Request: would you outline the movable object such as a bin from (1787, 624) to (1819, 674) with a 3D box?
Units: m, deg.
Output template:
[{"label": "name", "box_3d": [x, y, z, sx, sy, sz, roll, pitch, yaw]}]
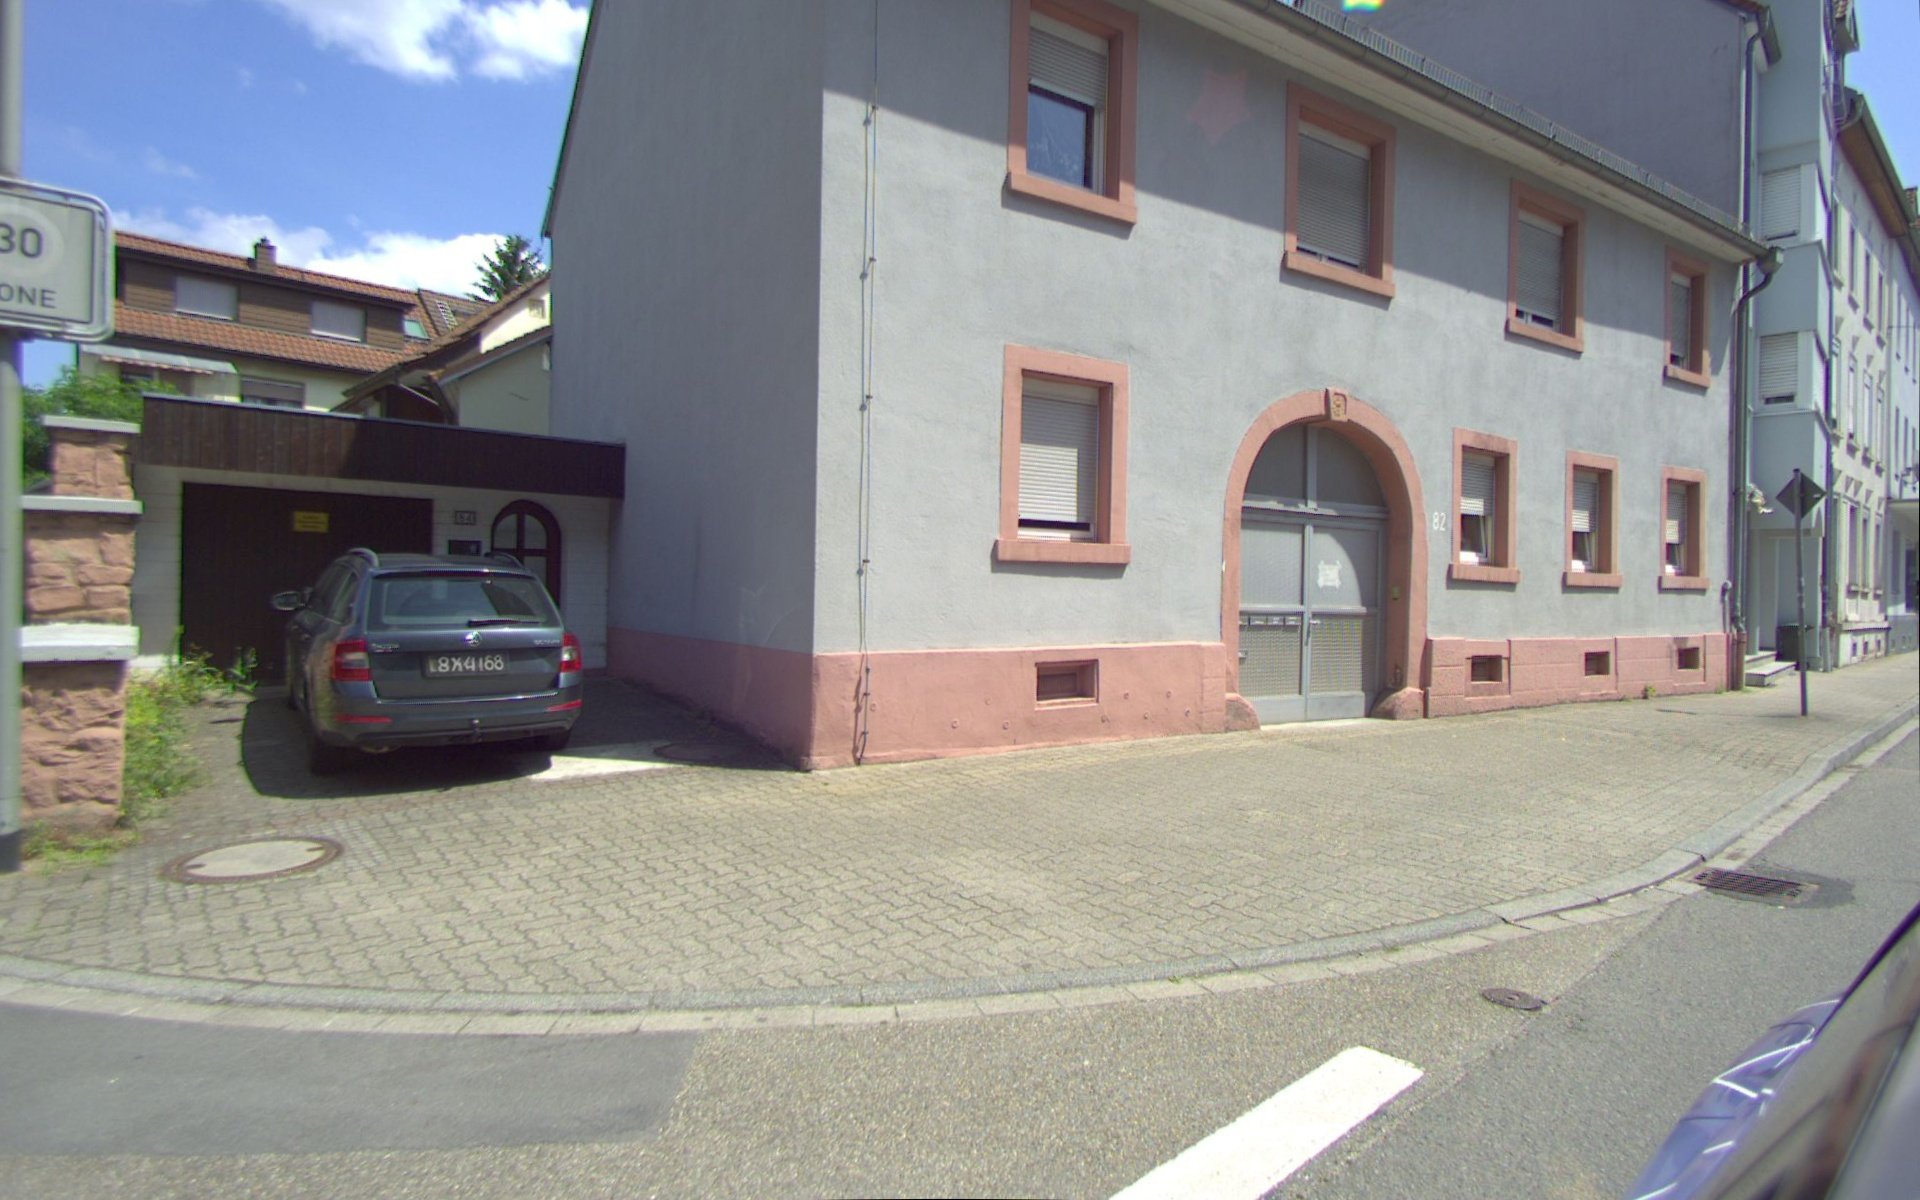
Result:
[{"label": "movable object such as a bin", "box_3d": [16.835, 0.965, 20.209, 0.472, 0.946, 0.480, 2, 1, 42]}]

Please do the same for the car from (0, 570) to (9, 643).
[{"label": "car", "box_3d": [-21.497, 0.128, 21.480, 1.711, 1.550, 3.603, 3, -2, -41]}]

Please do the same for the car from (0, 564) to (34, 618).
[{"label": "car", "box_3d": [-31.410, -0.312, 32.764, 1.965, 1.683, 3.994, 0, 1, -41]}]

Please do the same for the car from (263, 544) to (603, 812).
[{"label": "car", "box_3d": [-4.411, 0.342, 8.101, 1.710, 1.548, 4.281, -1, 3, -37]}]
